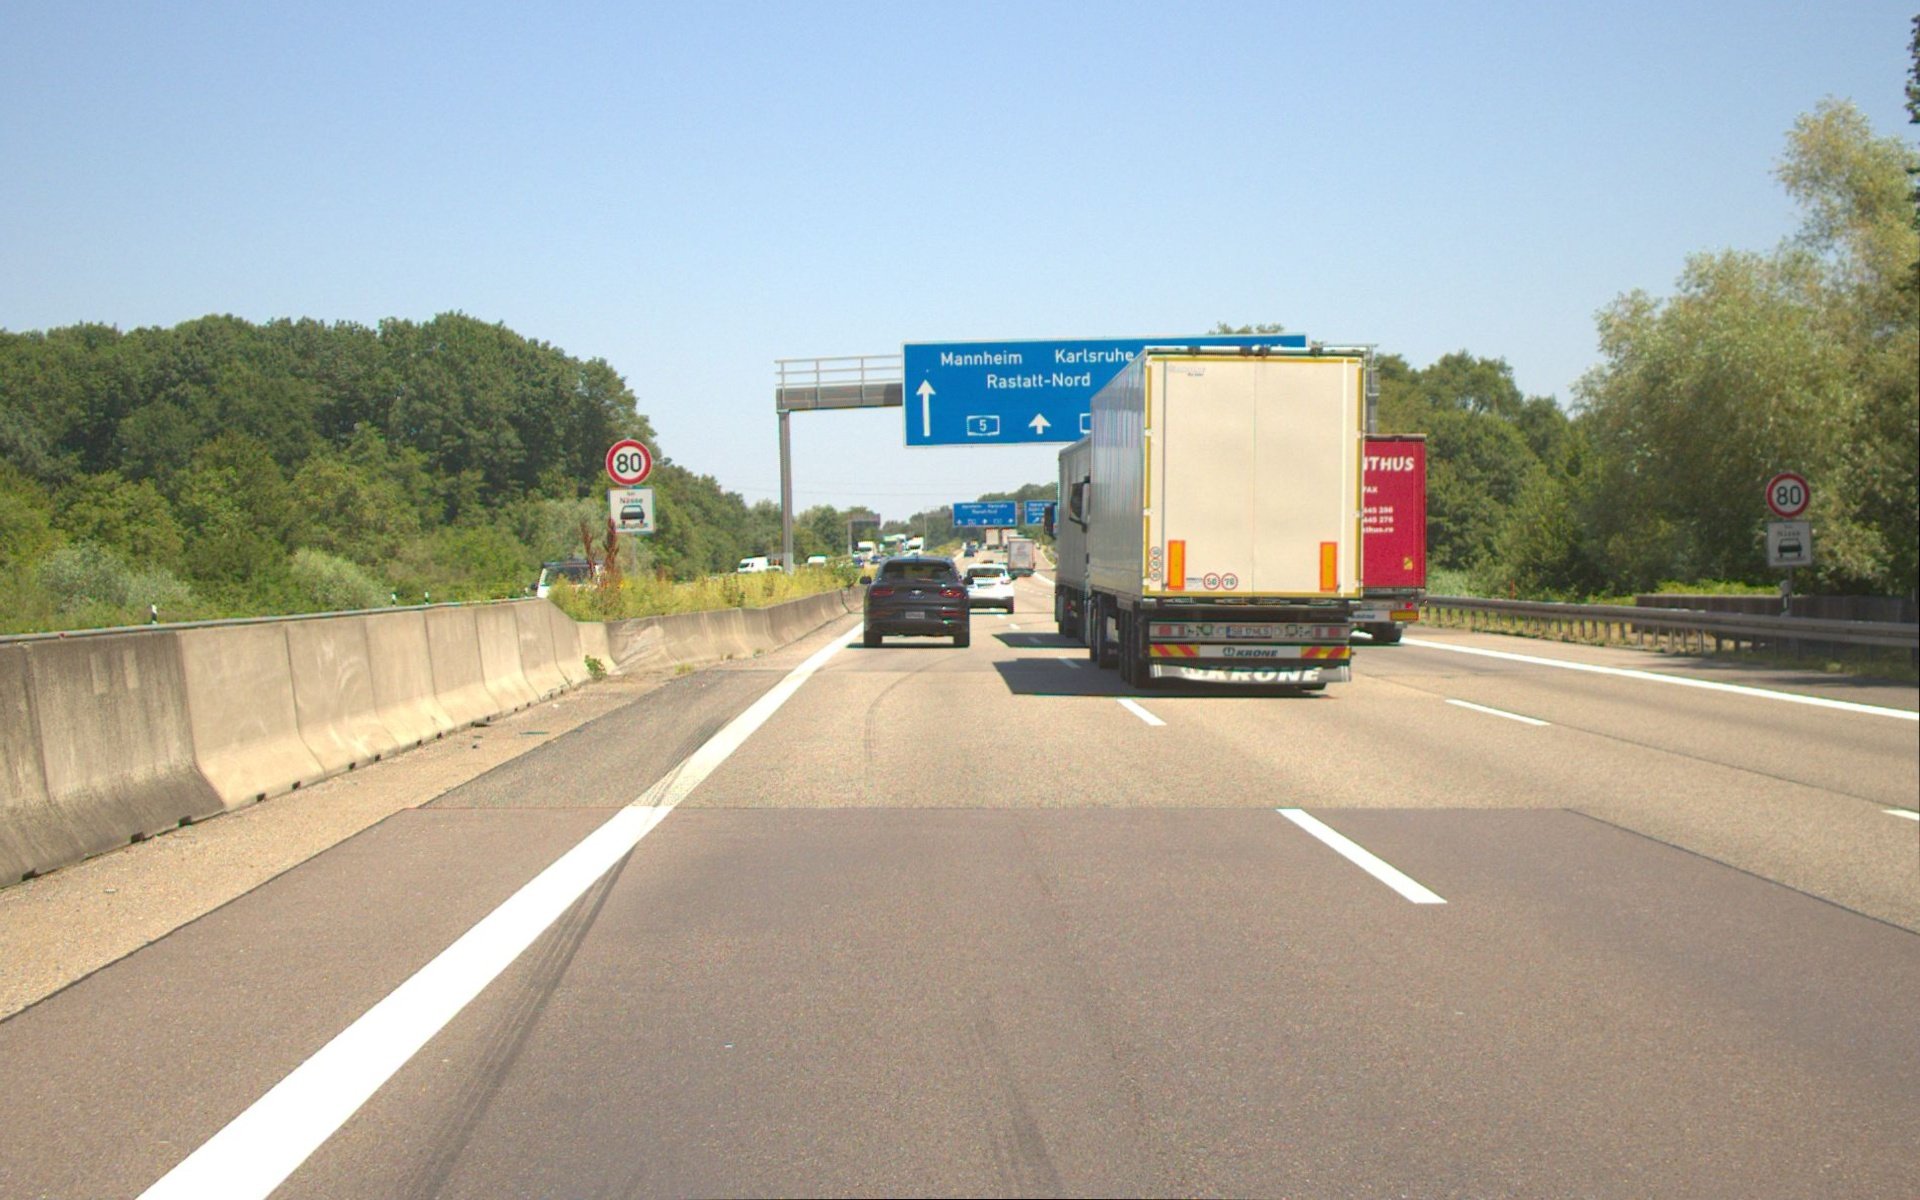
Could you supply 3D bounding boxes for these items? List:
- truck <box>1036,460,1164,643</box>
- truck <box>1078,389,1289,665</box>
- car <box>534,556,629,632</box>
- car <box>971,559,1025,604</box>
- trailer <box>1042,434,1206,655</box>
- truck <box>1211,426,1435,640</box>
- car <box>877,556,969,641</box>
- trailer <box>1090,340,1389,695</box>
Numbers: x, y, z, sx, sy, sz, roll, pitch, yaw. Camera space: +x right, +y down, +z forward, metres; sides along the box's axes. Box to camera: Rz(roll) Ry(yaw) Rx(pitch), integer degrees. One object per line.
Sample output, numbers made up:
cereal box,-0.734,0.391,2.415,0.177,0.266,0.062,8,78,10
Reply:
truck,3.201,-1.091,80.118,2.700,4.080,6.453,0,0,0
truck,3.336,-1.087,52.798,2.799,3.993,6.021,0,1,0
car,-10.802,-0.213,98.460,1.993,2.007,6.223,-2,1,0
car,1.247,-0.624,114.170,1.740,1.481,4.000,0,1,0
trailer,3.201,-1.047,70.769,2.707,4.054,14.746,0,0,0
truck,7.464,-1.347,72.725,3.055,4.092,13.219,0,1,-1
car,-0.712,-0.053,64.902,1.660,1.544,3.783,0,1,-1
trailer,3.409,-1.013,45.289,2.795,4.021,12.568,0,1,0
